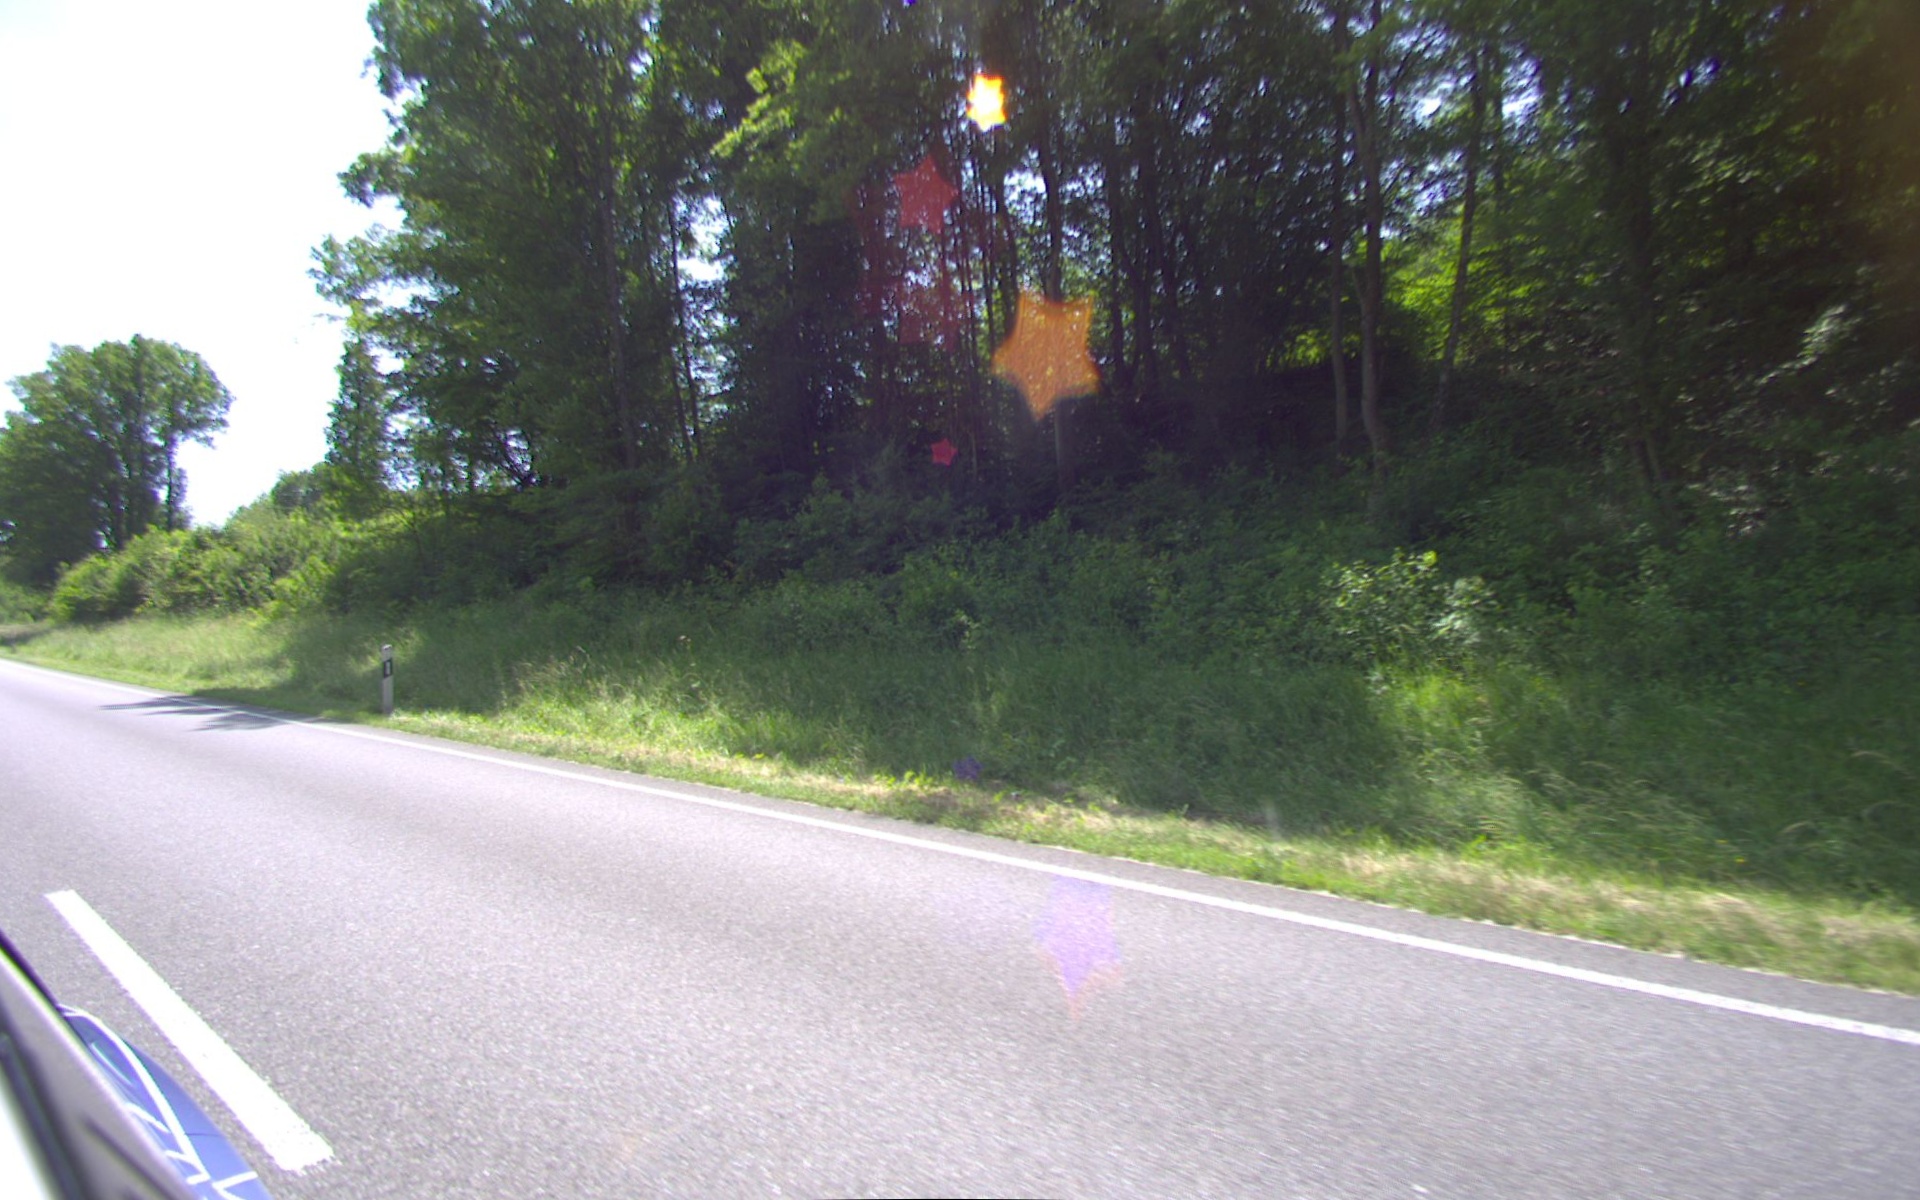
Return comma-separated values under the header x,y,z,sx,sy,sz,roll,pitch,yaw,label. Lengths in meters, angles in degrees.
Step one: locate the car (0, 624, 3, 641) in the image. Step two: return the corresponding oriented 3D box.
x,y,z,sx,sy,sz,roll,pitch,yaw,label
-115.114,3.900,120.285,1.970,2.029,4.003,1,-2,-44,car
